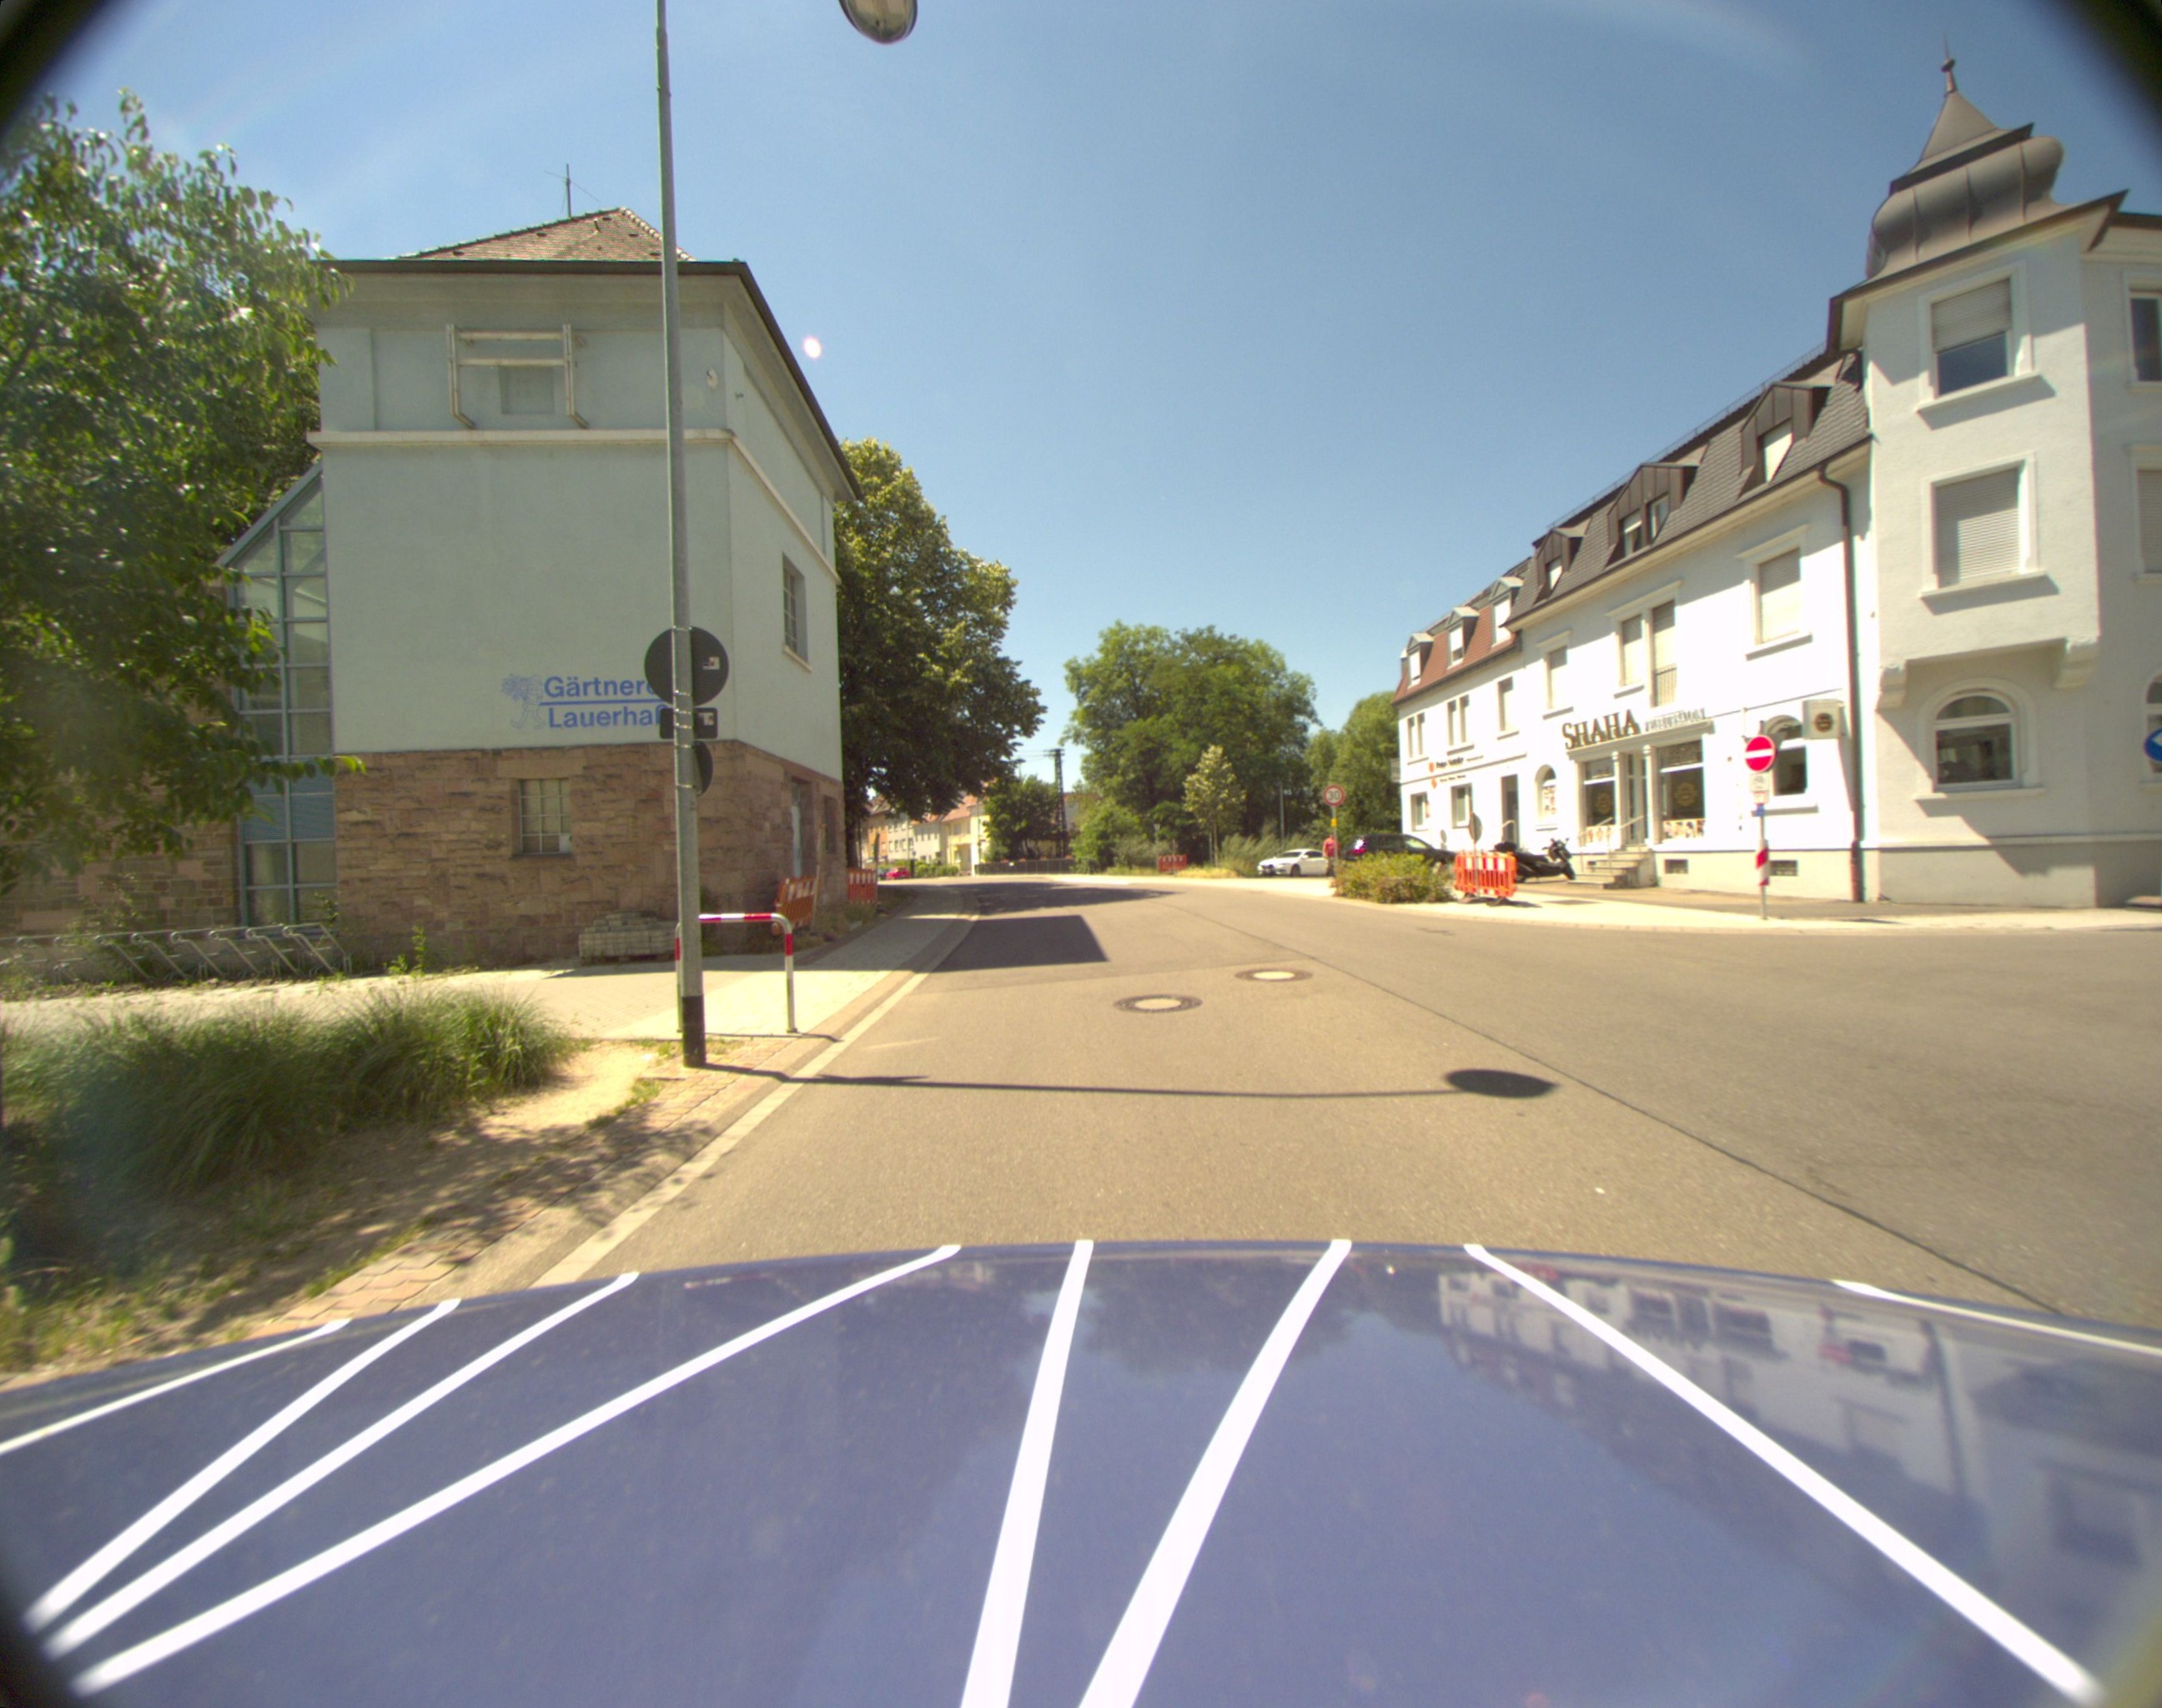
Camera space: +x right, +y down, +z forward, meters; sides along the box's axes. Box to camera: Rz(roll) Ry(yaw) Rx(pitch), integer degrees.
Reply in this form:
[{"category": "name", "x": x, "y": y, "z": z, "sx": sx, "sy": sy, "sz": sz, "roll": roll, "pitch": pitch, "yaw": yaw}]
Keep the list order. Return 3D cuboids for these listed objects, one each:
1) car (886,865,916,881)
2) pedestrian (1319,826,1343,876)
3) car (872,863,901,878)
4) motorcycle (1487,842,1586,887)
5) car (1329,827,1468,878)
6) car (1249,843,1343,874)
[{"category": "car", "x": -19.214, "y": 2.043, "z": 81.018, "sx": 1.886, "sy": 1.471, "sz": 4.728, "roll": -5, "pitch": 0, "yaw": -28}, {"category": "pedestrian", "x": 9.032, "y": -0.104, "z": 27.459, "sx": 0.737, "sy": 1.744, "sz": 0.738, "roll": -1, "pitch": 1, "yaw": 15}, {"category": "car", "x": -22.130, "y": 1.903, "z": 86.274, "sx": 1.872, "sy": 1.453, "sz": 5.297, "roll": -4, "pitch": -1, "yaw": -28}, {"category": "motorcycle", "x": 13.218, "y": 0.303, "z": 22.091, "sx": 2.401, "sy": 1.211, "sz": 0.833, "roll": -2, "pitch": 2, "yaw": -2}, {"category": "car", "x": 11.457, "y": -0.061, "z": 27.564, "sx": 4.192, "sy": 1.652, "sz": 1.970, "roll": -2, "pitch": 1, "yaw": -4}, {"category": "car", "x": 10.734, "y": 0.200, "z": 37.738, "sx": 4.717, "sy": 1.348, "sz": 1.995, "roll": -2, "pitch": 1, "yaw": -37}]
